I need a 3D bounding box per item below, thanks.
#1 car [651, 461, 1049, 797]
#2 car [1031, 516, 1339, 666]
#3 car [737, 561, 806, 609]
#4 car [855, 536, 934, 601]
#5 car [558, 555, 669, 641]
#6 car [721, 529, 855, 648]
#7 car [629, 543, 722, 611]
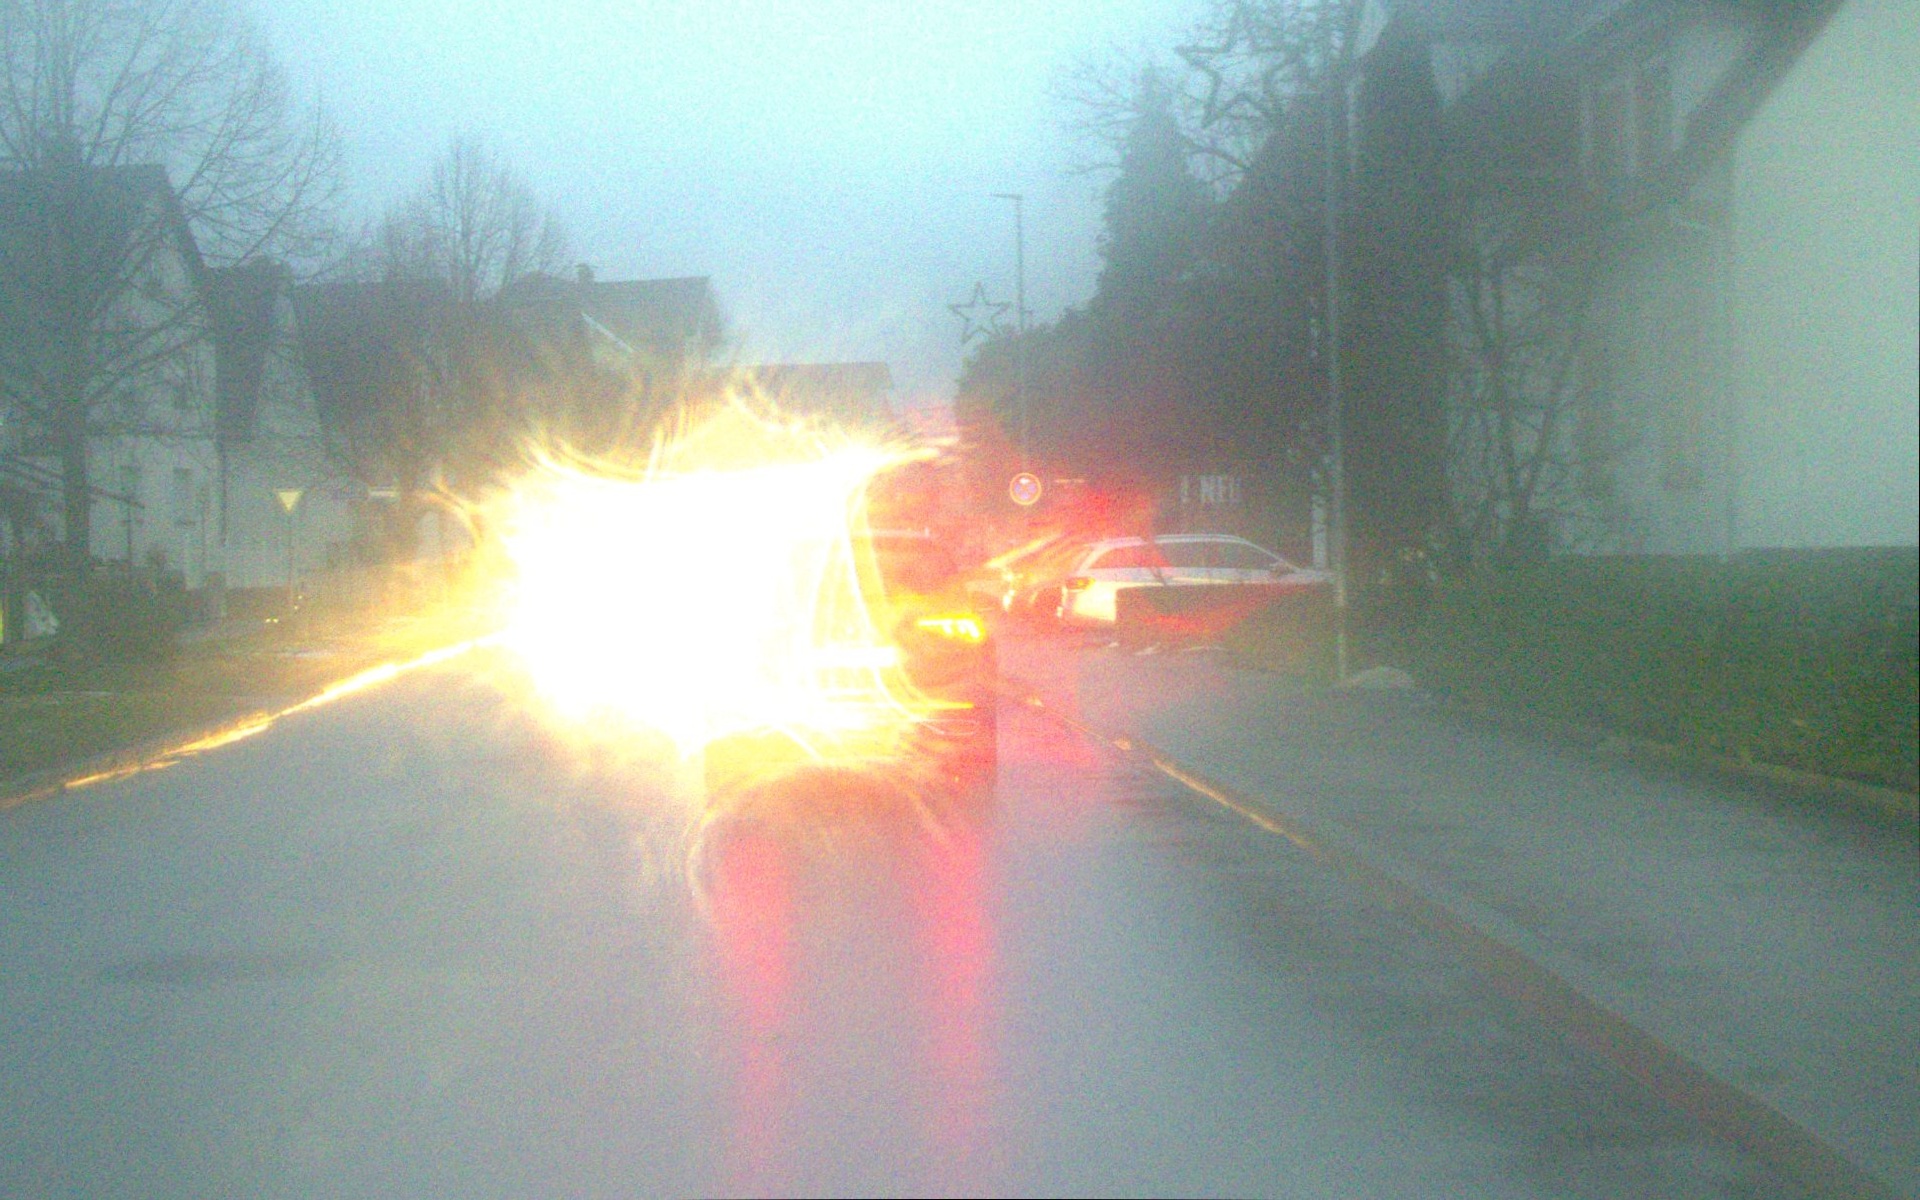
[{"bbox_3d":[-0.774,0.155,22.756,2.309,1.932,5.019,-1,0,-3],"label":"car"},{"bbox_3d":[3.171,-0.139,48.914,4.247,2.007,1.810,-1,1,2],"label":"car"},{"bbox_3d":[-5.569,-0.467,101.789,1.842,1.327,3.938,-2,1,-1],"label":"car"},{"bbox_3d":[-2.095,-0.978,108.119,2.309,1.932,5.018,-1,0,-2],"label":"car"},{"bbox_3d":[-6.840,-0.066,68.171,1.913,1.517,4.001,-1,2,-2],"label":"car"},{"bbox_3d":[-2.523,-0.200,50.119,1.857,1.641,4.001,0,1,-3],"label":"car"},{"bbox_3d":[-6.853,-0.576,83.142,1.913,1.426,4.001,-1,3,0],"label":"car"}]
